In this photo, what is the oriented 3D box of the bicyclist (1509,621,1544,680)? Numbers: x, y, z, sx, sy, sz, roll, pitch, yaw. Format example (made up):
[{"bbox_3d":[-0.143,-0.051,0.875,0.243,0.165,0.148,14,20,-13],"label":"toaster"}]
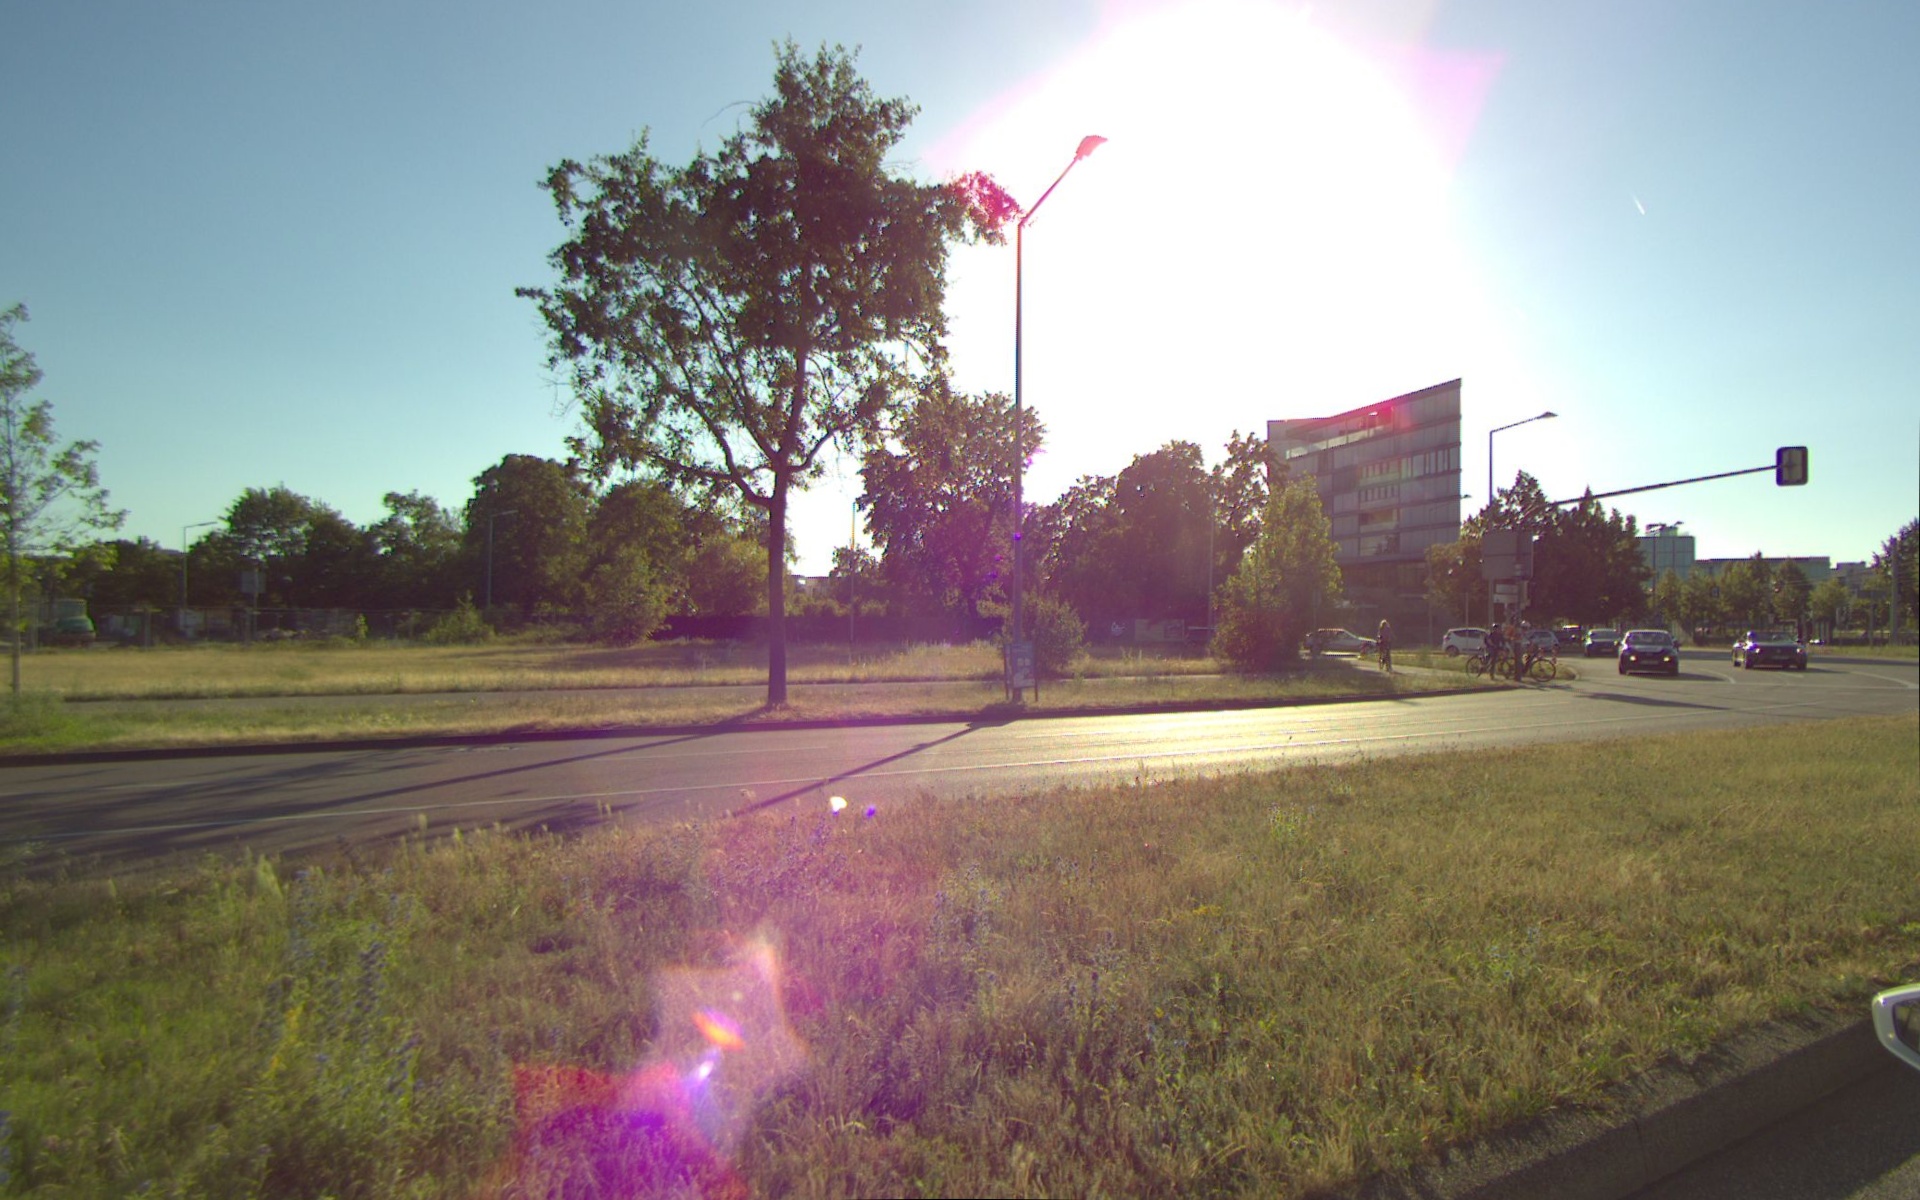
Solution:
[{"bbox_3d":[17.954,1.602,31.850,0.489,1.813,0.811,1,0,-21],"label":"bicyclist"}]

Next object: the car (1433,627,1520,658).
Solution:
[{"bbox_3d":[27.048,2.206,52.644,3.909,1.528,1.843,-1,-1,34],"label":"car"}]

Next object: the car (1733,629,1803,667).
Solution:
[{"bbox_3d":[31.053,1.826,38.688,1.644,1.394,4.138,-2,-2,33],"label":"car"}]

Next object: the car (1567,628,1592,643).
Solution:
[{"bbox_3d":[86.329,4.881,139.951,1.960,2.040,4.001,0,-1,17],"label":"car"}]

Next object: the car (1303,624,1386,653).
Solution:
[{"bbox_3d":[21.301,2.115,55.810,4.223,1.528,1.876,0,-1,19],"label":"car"}]

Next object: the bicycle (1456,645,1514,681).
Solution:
[{"bbox_3d":[16.574,1.977,31.746,0.496,1.033,1.909,1,0,-13],"label":"bicycle"}]

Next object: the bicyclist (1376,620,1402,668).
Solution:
[{"bbox_3d":[15.339,1.563,35.903,0.696,1.688,0.831,0,-1,12],"label":"bicyclist"}]

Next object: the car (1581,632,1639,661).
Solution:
[{"bbox_3d":[32.465,2.294,50.248,1.640,1.394,3.779,-1,-2,20],"label":"car"}]

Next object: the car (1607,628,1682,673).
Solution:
[{"bbox_3d":[23.880,1.732,35.134,1.641,1.460,3.612,-1,-2,26],"label":"car"}]

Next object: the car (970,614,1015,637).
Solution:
[{"bbox_3d":[2.987,2.344,91.641,3.919,2.040,2.001,0,-1,5],"label":"car"}]

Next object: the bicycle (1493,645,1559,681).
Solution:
[{"bbox_3d":[17.934,1.986,31.871,0.497,1.033,1.905,1,0,-21],"label":"bicycle"}]

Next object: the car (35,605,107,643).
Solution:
[{"bbox_3d":[-49.284,1.303,55.669,3.814,2.040,1.995,0,-2,33],"label":"car"}]

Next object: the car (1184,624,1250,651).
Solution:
[{"bbox_3d":[14.947,2.166,58.370,3.635,1.528,1.876,0,-1,19],"label":"car"}]

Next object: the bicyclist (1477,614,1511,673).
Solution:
[{"bbox_3d":[16.678,1.349,31.368,0.488,1.794,0.813,1,0,-14],"label":"bicyclist"}]

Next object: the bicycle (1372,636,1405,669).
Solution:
[{"bbox_3d":[15.362,1.864,36.069,0.711,1.133,1.825,1,-1,11],"label":"bicycle"}]
